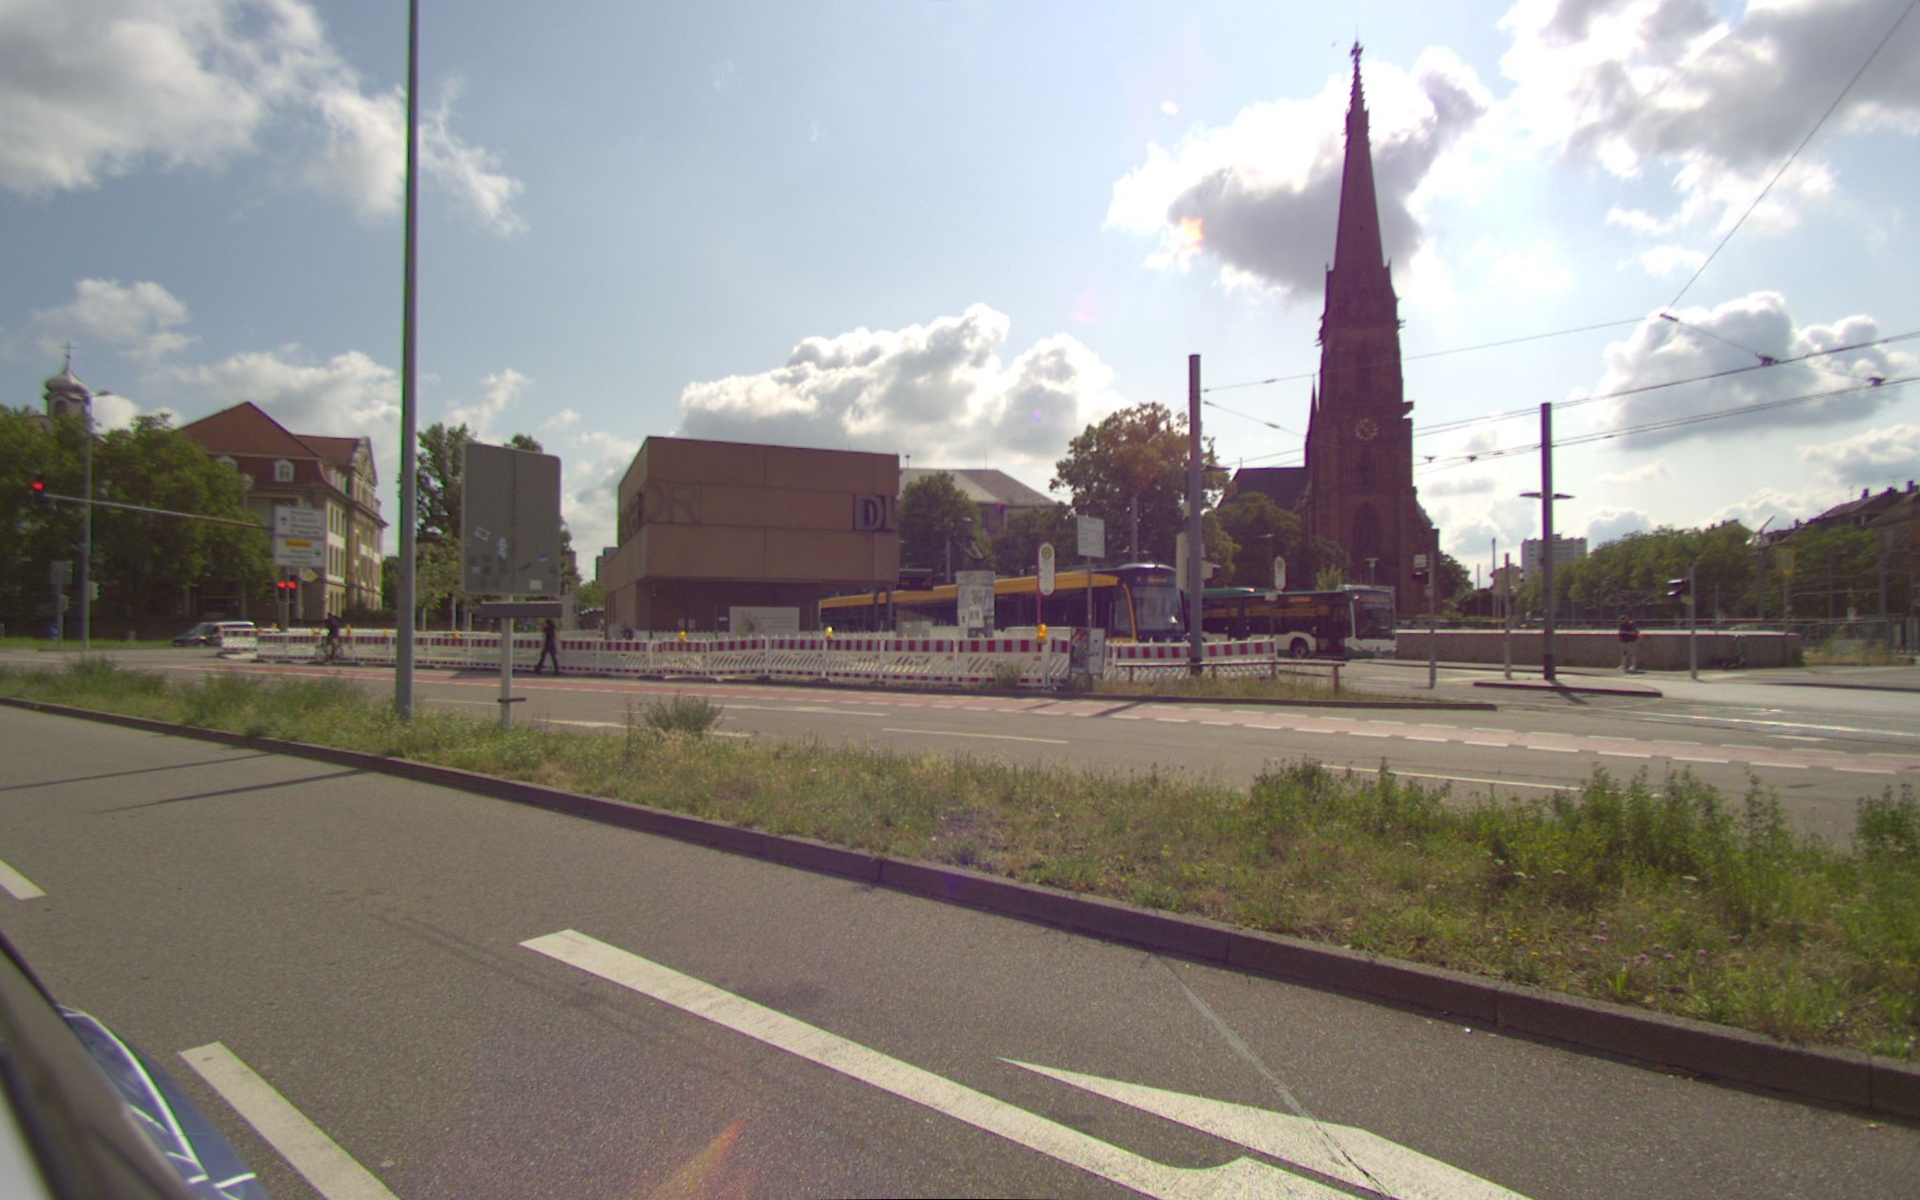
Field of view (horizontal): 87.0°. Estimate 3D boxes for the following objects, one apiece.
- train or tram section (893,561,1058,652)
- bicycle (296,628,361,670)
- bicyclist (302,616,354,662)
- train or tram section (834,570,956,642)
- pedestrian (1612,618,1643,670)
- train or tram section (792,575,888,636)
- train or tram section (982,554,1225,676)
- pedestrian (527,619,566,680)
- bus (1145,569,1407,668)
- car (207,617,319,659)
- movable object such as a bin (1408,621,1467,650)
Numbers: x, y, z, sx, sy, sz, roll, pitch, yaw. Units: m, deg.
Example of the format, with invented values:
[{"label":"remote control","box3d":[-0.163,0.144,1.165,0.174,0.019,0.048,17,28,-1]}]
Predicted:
[{"label":"train or tram section","box3d":[0.318,0.252,44.564,3.267,3.507,10.643,-1,0,-23]},{"label":"bicycle","box3d":[-21.987,1.691,35.246,2.285,1.421,0.963,-1,-2,30]},{"label":"bicyclist","box3d":[-22.023,1.341,35.267,1.768,1.575,0.770,-1,-2,30]},{"label":"train or tram section","box3d":[-3.769,0.287,54.417,3.267,3.507,10.643,-1,0,-23]},{"label":"pedestrian","box3d":[23.563,1.539,35.733,0.708,1.808,0.564,1,-2,-24]},{"label":"train or tram section","box3d":[-7.822,0.321,64.192,3.267,3.507,10.643,-1,0,-23]},{"label":"train or tram section","box3d":[4.400,0.427,34.743,3.267,3.507,10.643,-1,0,-23]},{"label":"pedestrian","box3d":[-12.205,1.453,29.886,1.000,1.777,0.645,-2,-2,39]},{"label":"bus","box3d":[13.010,0.899,43.726,2.865,3.648,12.416,1,-2,-27]},{"label":"car","box3d":[-31.035,1.697,45.206,3.931,1.796,2.006,1,-2,-30]},{"label":"movable object such as a bin","box3d":[48.832,3.626,103.598,5.110,2.934,1.989,-1,-2,17]}]
